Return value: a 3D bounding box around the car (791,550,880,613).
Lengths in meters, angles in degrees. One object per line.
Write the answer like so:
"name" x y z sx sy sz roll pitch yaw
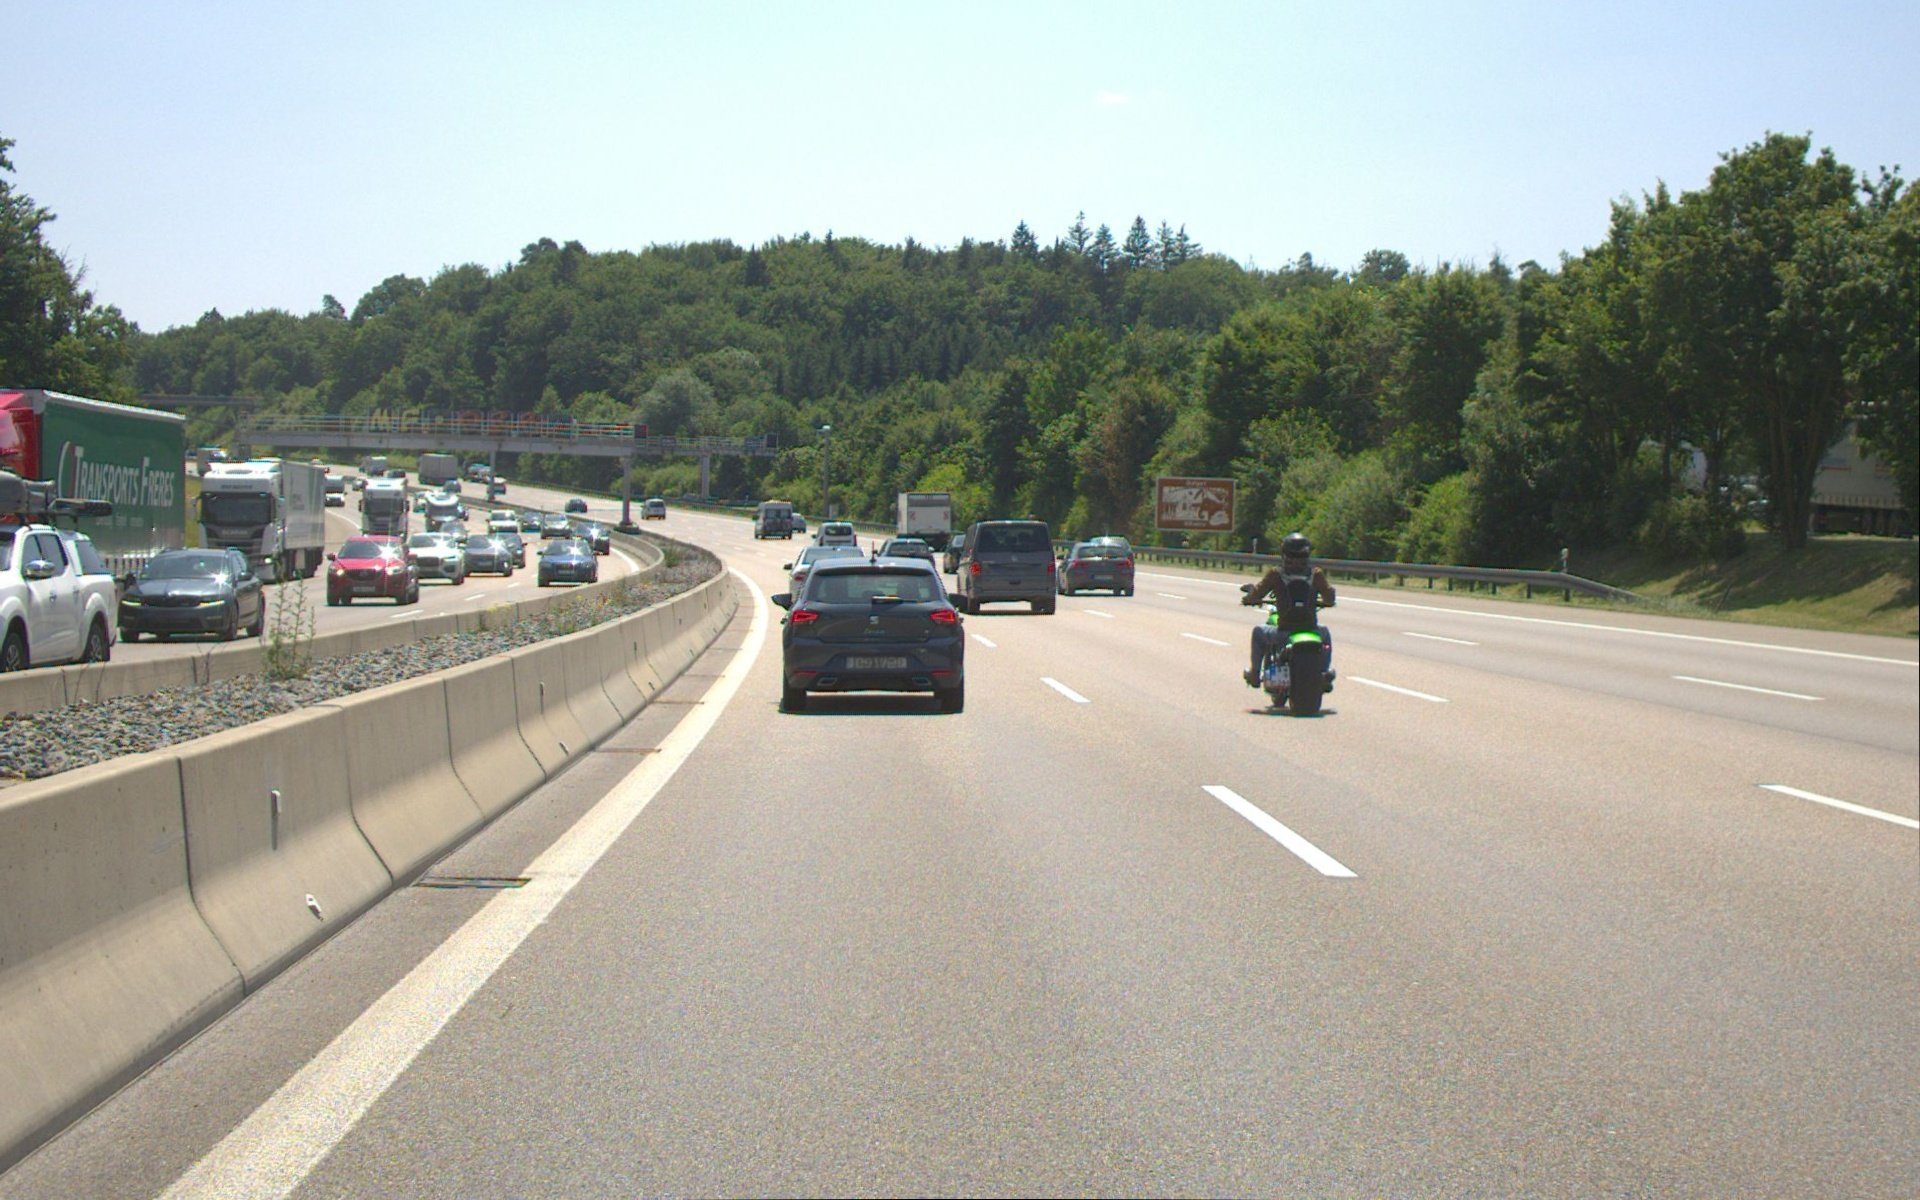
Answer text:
"car" -2.629 -0.405 71.815 1.782 1.261 3.460 -1 1 -3

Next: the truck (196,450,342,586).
"truck" -23.547 -2.745 118.042 2.899 4.336 16.559 0 1 -4

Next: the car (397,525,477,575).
"car" -16.757 -1.606 110.422 1.993 1.543 4.882 0 1 -2

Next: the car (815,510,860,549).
"car" -5.726 -3.323 160.672 1.993 1.678 4.424 3 1 -2

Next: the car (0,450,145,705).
"car" -9.595 -0.258 33.561 1.993 2.281 5.765 1 1 -1

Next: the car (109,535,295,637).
"car" -12.109 -0.248 55.206 1.993 1.543 4.881 1 1 -1

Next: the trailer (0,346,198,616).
"trailer" -16.481 -2.121 62.625 2.501 4.336 14.304 1 1 -2

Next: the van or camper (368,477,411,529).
"van or camper" -34.029 -5.808 205.188 2.314 2.762 7.166 3 3 -9

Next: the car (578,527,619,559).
"car" -18.347 -2.890 174.366 1.986 1.543 4.882 0 1 -7

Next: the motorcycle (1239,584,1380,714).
"motorcycle" 3.191 0.430 31.618 0.977 1.125 2.271 1 1 -2

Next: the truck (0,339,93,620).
"truck" -16.180 -1.953 56.211 2.501 4.336 6.606 1 1 -2

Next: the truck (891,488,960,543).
"truck" -1.910 -4.621 187.677 2.726 2.776 5.685 3 1 -10

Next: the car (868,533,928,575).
"car" -2.049 -1.506 112.728 1.842 1.218 4.225 3 1 -2

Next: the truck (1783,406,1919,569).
"truck" 29.690 -3.444 108.998 3.326 4.813 14.699 1 1 -1

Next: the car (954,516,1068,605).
"car" 1.064 -0.858 73.902 2.097 1.845 4.082 0 1 -4

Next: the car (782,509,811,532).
"car" -12.030 -5.847 253.512 1.993 1.568 4.001 3 1 -2

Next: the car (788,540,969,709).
"car" -0.802 0.192 32.953 1.624 1.482 3.686 0 2 -2

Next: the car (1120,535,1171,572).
"car" 6.430 -1.600 119.177 1.608 1.208 3.460 1 -1 1

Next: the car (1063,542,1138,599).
"car" 3.741 -0.797 91.956 1.675 1.427 3.685 2 0 -2

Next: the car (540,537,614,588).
"car" -11.923 -1.180 107.275 1.993 1.543 4.882 0 1 -3

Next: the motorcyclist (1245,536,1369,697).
"motorcyclist" 3.173 0.138 31.527 0.962 1.433 1.235 1 1 -2

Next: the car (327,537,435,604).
"car" -13.901 -0.725 82.783 1.993 1.543 4.882 0 1 -3

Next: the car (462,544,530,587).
"car" -16.861 -1.278 125.226 2.024 1.543 4.882 0 1 -3

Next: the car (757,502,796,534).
"car" -12.267 -5.499 229.619 1.993 2.006 4.676 3 1 -9
